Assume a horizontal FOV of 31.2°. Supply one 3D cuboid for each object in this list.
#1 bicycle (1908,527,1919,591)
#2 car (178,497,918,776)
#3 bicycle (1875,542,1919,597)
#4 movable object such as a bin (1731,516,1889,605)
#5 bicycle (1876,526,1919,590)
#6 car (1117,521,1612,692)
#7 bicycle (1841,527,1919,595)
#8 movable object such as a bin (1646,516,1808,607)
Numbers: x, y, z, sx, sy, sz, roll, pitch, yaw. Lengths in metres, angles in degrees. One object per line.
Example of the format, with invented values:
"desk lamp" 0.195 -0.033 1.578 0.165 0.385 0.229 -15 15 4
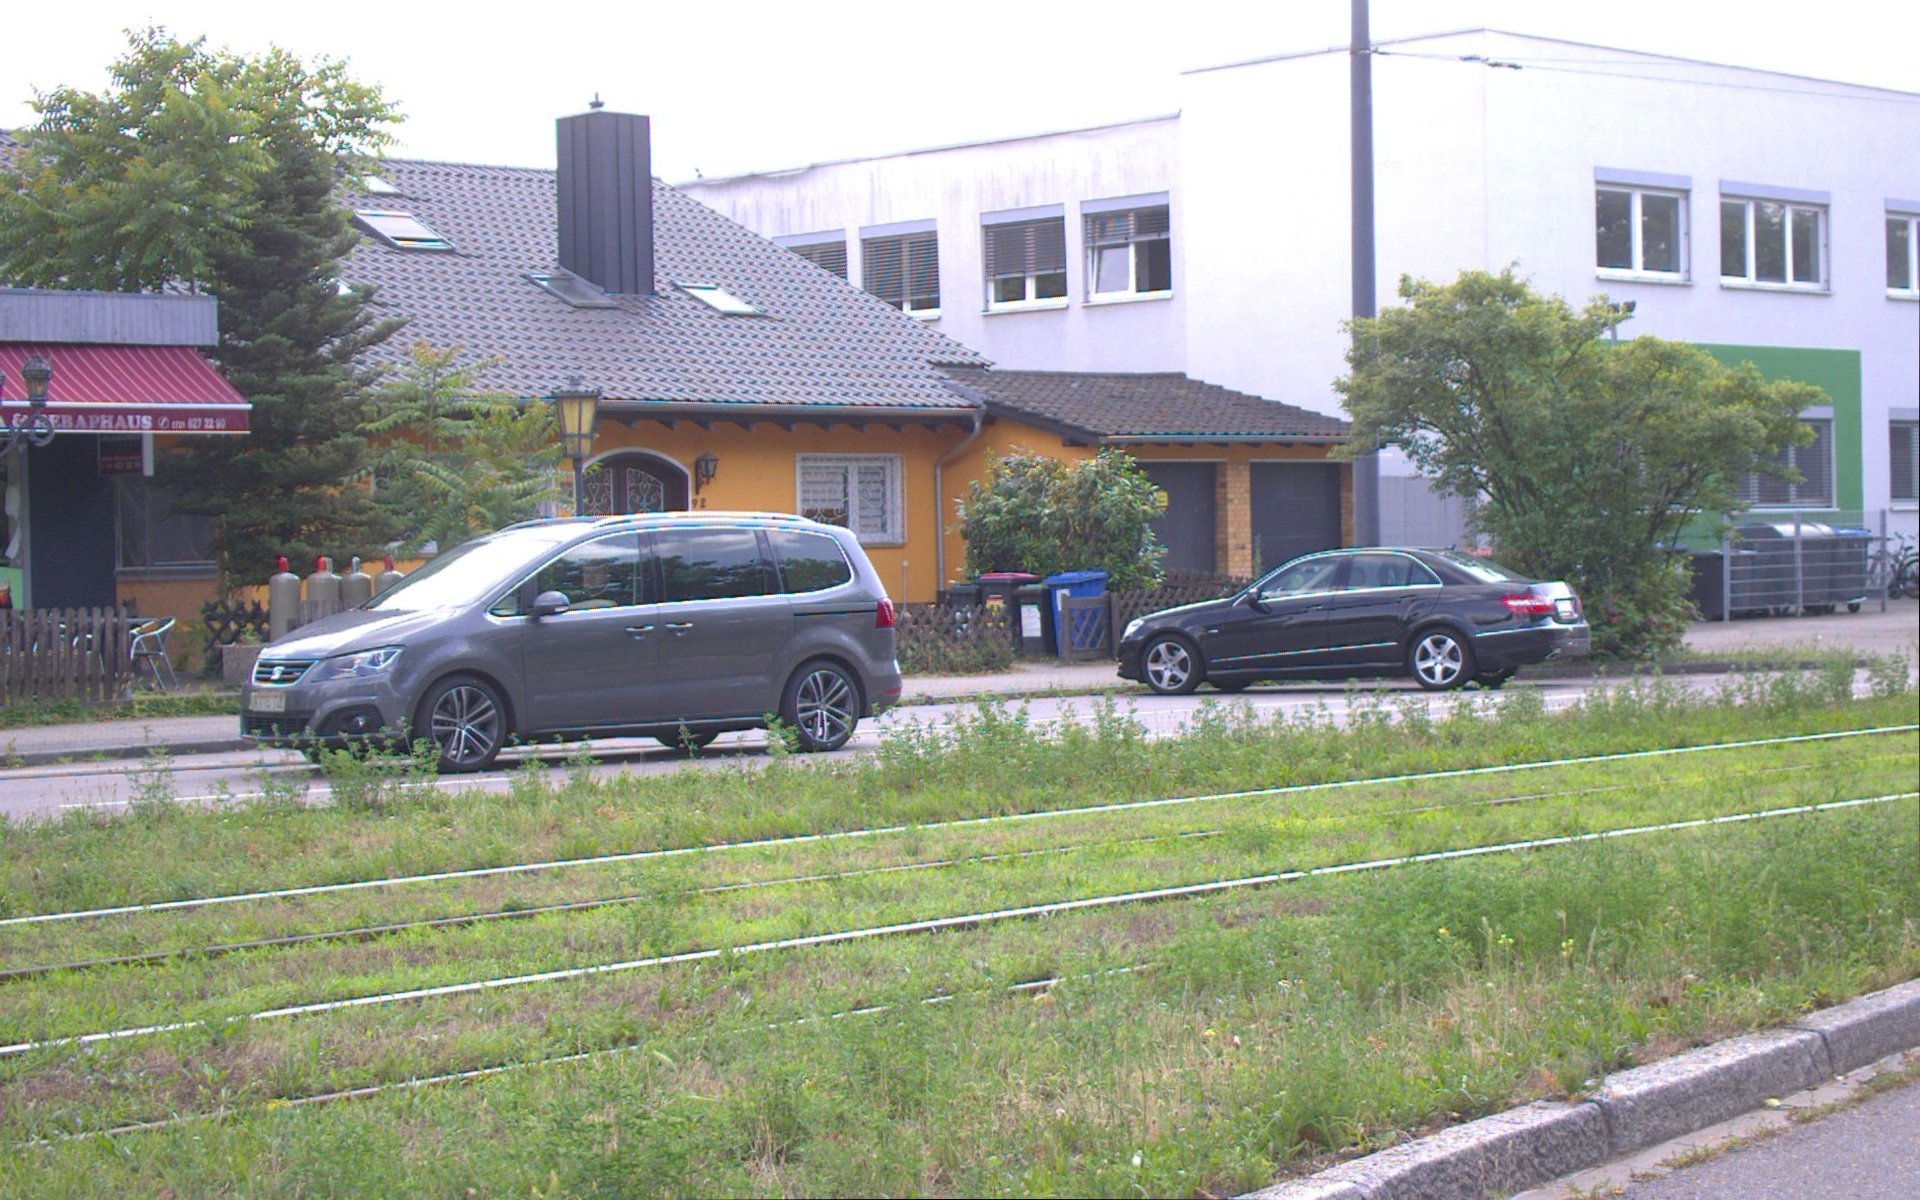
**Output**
"bicycle" 18.189 -0.746 61.513 0.758 1.162 2.351 -2 1 -38
"car" -2.786 0.181 23.883 4.726 1.716 1.999 -2 1 -38
"bicycle" 17.377 -0.543 61.053 0.729 0.967 2.158 -2 1 -40
"movable object such as a bin" 13.197 -0.613 53.344 2.125 1.322 1.376 -2 1 -40
"bicycle" 16.543 -0.717 58.306 1.796 1.078 0.734 0 1 44
"car" 4.114 0.068 35.044 4.571 1.575 1.997 -2 1 26
"bicycle" 16.225 -0.690 60.038 0.703 1.162 1.621 -2 1 -27
"movable object such as a bin" 11.580 -0.583 51.876 2.111 1.322 1.376 -2 1 -40
